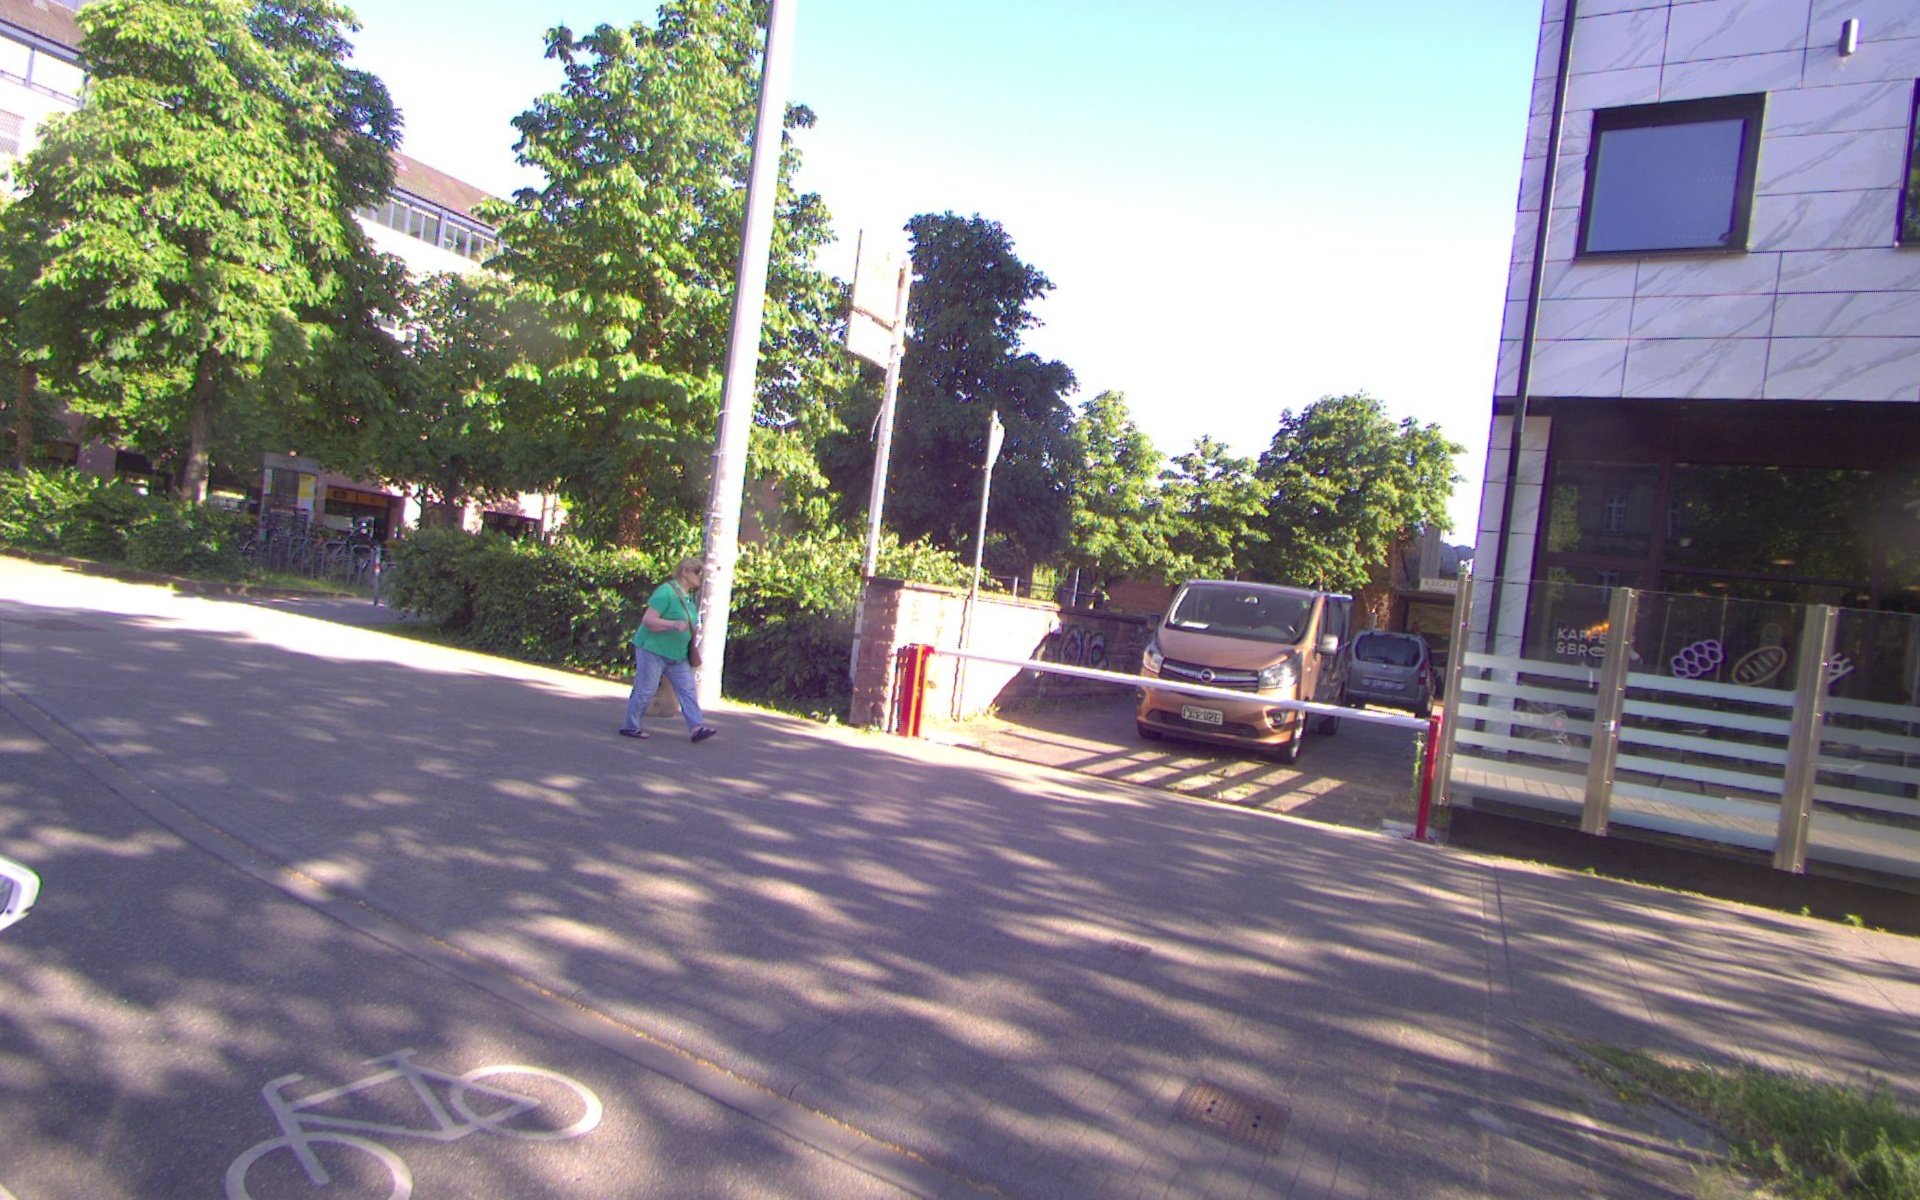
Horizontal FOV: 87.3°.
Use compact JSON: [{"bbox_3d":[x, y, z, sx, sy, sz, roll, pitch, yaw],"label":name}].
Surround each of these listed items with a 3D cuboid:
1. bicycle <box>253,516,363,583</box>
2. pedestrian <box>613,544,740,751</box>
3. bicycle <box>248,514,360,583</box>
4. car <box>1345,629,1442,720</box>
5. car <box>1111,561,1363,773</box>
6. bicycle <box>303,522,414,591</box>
[{"bbox_3d":[-14.995,-1.139,23.189,0.564,1.331,1.998,7,1,30],"label":"bicycle"},{"bbox_3d":[-2.360,0.389,8.460,0.818,1.595,0.737,6,1,-11],"label":"pedestrian"},{"bbox_3d":[-14.668,-1.130,22.548,0.564,1.331,1.998,7,1,30],"label":"bicycle"},{"bbox_3d":[9.788,1.632,22.575,1.567,1.692,3.616,7,0,28],"label":"car"},{"bbox_3d":[3.743,0.720,12.833,1.880,2.011,4.901,7,2,28],"label":"car"},{"bbox_3d":[-13.322,-0.935,22.343,0.564,1.331,1.998,7,1,30],"label":"bicycle"}]
